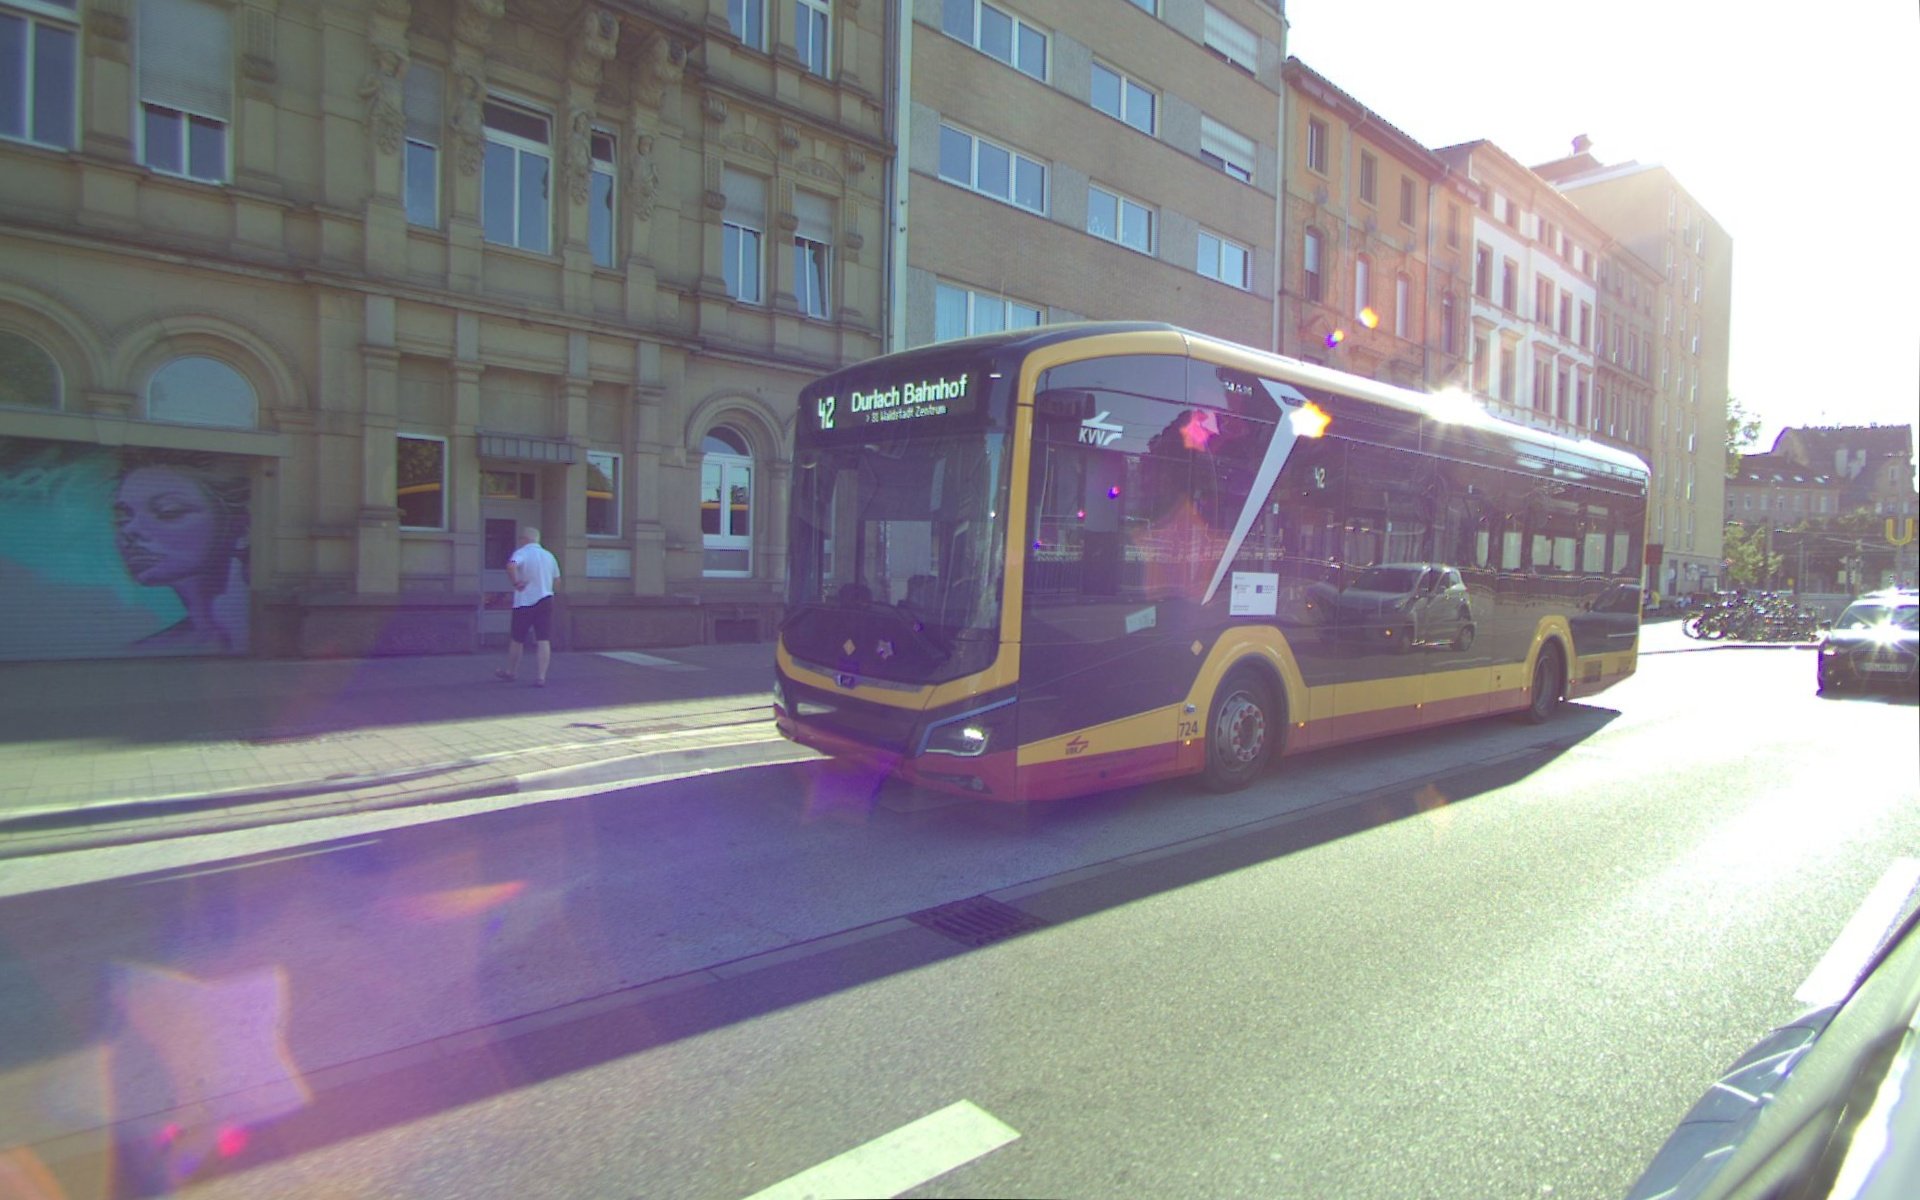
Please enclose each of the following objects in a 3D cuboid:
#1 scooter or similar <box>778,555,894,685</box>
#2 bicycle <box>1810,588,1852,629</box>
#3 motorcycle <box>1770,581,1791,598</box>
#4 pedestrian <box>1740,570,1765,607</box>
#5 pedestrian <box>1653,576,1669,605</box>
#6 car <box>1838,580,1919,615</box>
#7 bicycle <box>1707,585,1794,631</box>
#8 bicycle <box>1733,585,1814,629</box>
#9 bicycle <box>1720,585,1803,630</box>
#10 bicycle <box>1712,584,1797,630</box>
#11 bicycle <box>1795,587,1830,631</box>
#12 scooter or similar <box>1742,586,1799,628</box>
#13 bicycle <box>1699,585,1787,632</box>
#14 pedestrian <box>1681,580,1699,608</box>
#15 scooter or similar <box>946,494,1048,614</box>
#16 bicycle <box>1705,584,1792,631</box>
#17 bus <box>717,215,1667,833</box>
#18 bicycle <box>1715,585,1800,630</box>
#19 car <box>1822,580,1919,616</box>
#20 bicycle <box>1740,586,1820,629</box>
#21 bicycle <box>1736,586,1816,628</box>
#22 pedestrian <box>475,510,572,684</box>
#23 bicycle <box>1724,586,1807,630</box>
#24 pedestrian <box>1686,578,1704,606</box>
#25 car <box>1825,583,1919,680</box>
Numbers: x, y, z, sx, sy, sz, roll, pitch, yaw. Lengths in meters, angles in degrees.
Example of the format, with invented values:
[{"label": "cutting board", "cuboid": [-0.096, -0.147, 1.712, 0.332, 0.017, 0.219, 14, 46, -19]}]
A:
[{"label": "scooter or similar", "cuboid": [-1.276, 0.165, 10.581, 0.430, 1.264, 1.278, 4, 4, 37]}, {"label": "bicycle", "cuboid": [25.304, 0.242, 29.413, 0.465, 1.161, 1.755, 1, 1, 26]}, {"label": "motorcycle", "cuboid": [55.519, -0.713, 68.480, 1.774, 1.059, 0.879, -2, 4, -43]}, {"label": "pedestrian", "cuboid": [40.449, -0.599, 51.667, 0.744, 1.889, 0.826, 2, 1, 19]}, {"label": "pedestrian", "cuboid": [32.871, -0.429, 47.441, 0.515, 1.335, 0.583, 2, 2, 42]}, {"label": "car", "cuboid": [43.702, -0.126, 46.884, 4.177, 1.590, 1.957, 0, 1, 6]}, {"label": "bicycle", "cuboid": [21.441, 0.201, 27.466, 0.462, 1.202, 1.795, 1, 1, -40]}, {"label": "bicycle", "cuboid": [23.649, 0.194, 29.460, 0.462, 1.202, 1.768, 1, 1, -40]}, {"label": "bicycle", "cuboid": [22.524, 0.204, 28.466, 0.462, 1.202, 1.768, 1, 1, -40]}, {"label": "bicycle", "cuboid": [21.791, 0.176, 27.798, 0.462, 1.202, 1.768, 1, 1, -40]}, {"label": "bicycle", "cuboid": [23.304, 0.232, 27.652, 1.740, 1.161, 0.469, 1, 0, -41]}, {"label": "scooter or similar", "cuboid": [24.725, 0.201, 30.883, 1.195, 1.231, 0.638, 0, 2, 23]}, {"label": "bicycle", "cuboid": [20.717, 0.206, 26.803, 0.462, 1.202, 1.768, 1, 1, -40]}, {"label": "pedestrian", "cuboid": [35.309, -0.313, 48.963, 0.580, 1.335, 0.517, 0, 2, -34]}, {"label": "scooter or similar", "cuboid": [0.434, -0.520, 11.333, 0.431, 1.264, 1.277, 4, 4, 39]}, {"label": "bicycle", "cuboid": [21.094, 0.187, 27.111, 0.462, 1.202, 1.768, 1, 1, -40]}, {"label": "bus", "cuboid": [3.775, -0.502, 10.378, 12.323, 3.220, 2.721, -1, 3, -41]}, {"label": "bicycle", "cuboid": [22.154, 0.197, 28.140, 0.462, 1.202, 1.768, 1, 1, -40]}, {"label": "car", "cuboid": [40.949, -0.087, 44.567, 4.044, 1.482, 1.958, 1, 2, 8]}, {"label": "bicycle", "cuboid": [24.381, 0.211, 30.115, 0.462, 1.193, 1.768, 1, 1, -40]}, {"label": "bicycle", "cuboid": [24.009, 0.193, 29.792, 0.462, 1.193, 1.768, 1, 1, -40]}, {"label": "pedestrian", "cuboid": [-4.898, -0.036, 11.332, 0.764, 1.856, 0.855, 3, 0, -33]}, {"label": "bicycle", "cuboid": [22.905, 0.206, 28.807, 0.462, 1.202, 1.768, 1, 1, -40]}, {"label": "pedestrian", "cuboid": [35.869, -0.412, 49.363, 0.580, 1.335, 0.517, 0, 2, -34]}, {"label": "car", "cuboid": [15.157, 0.471, 16.040, 3.765, 1.406, 1.693, 1, 0, -41]}]
